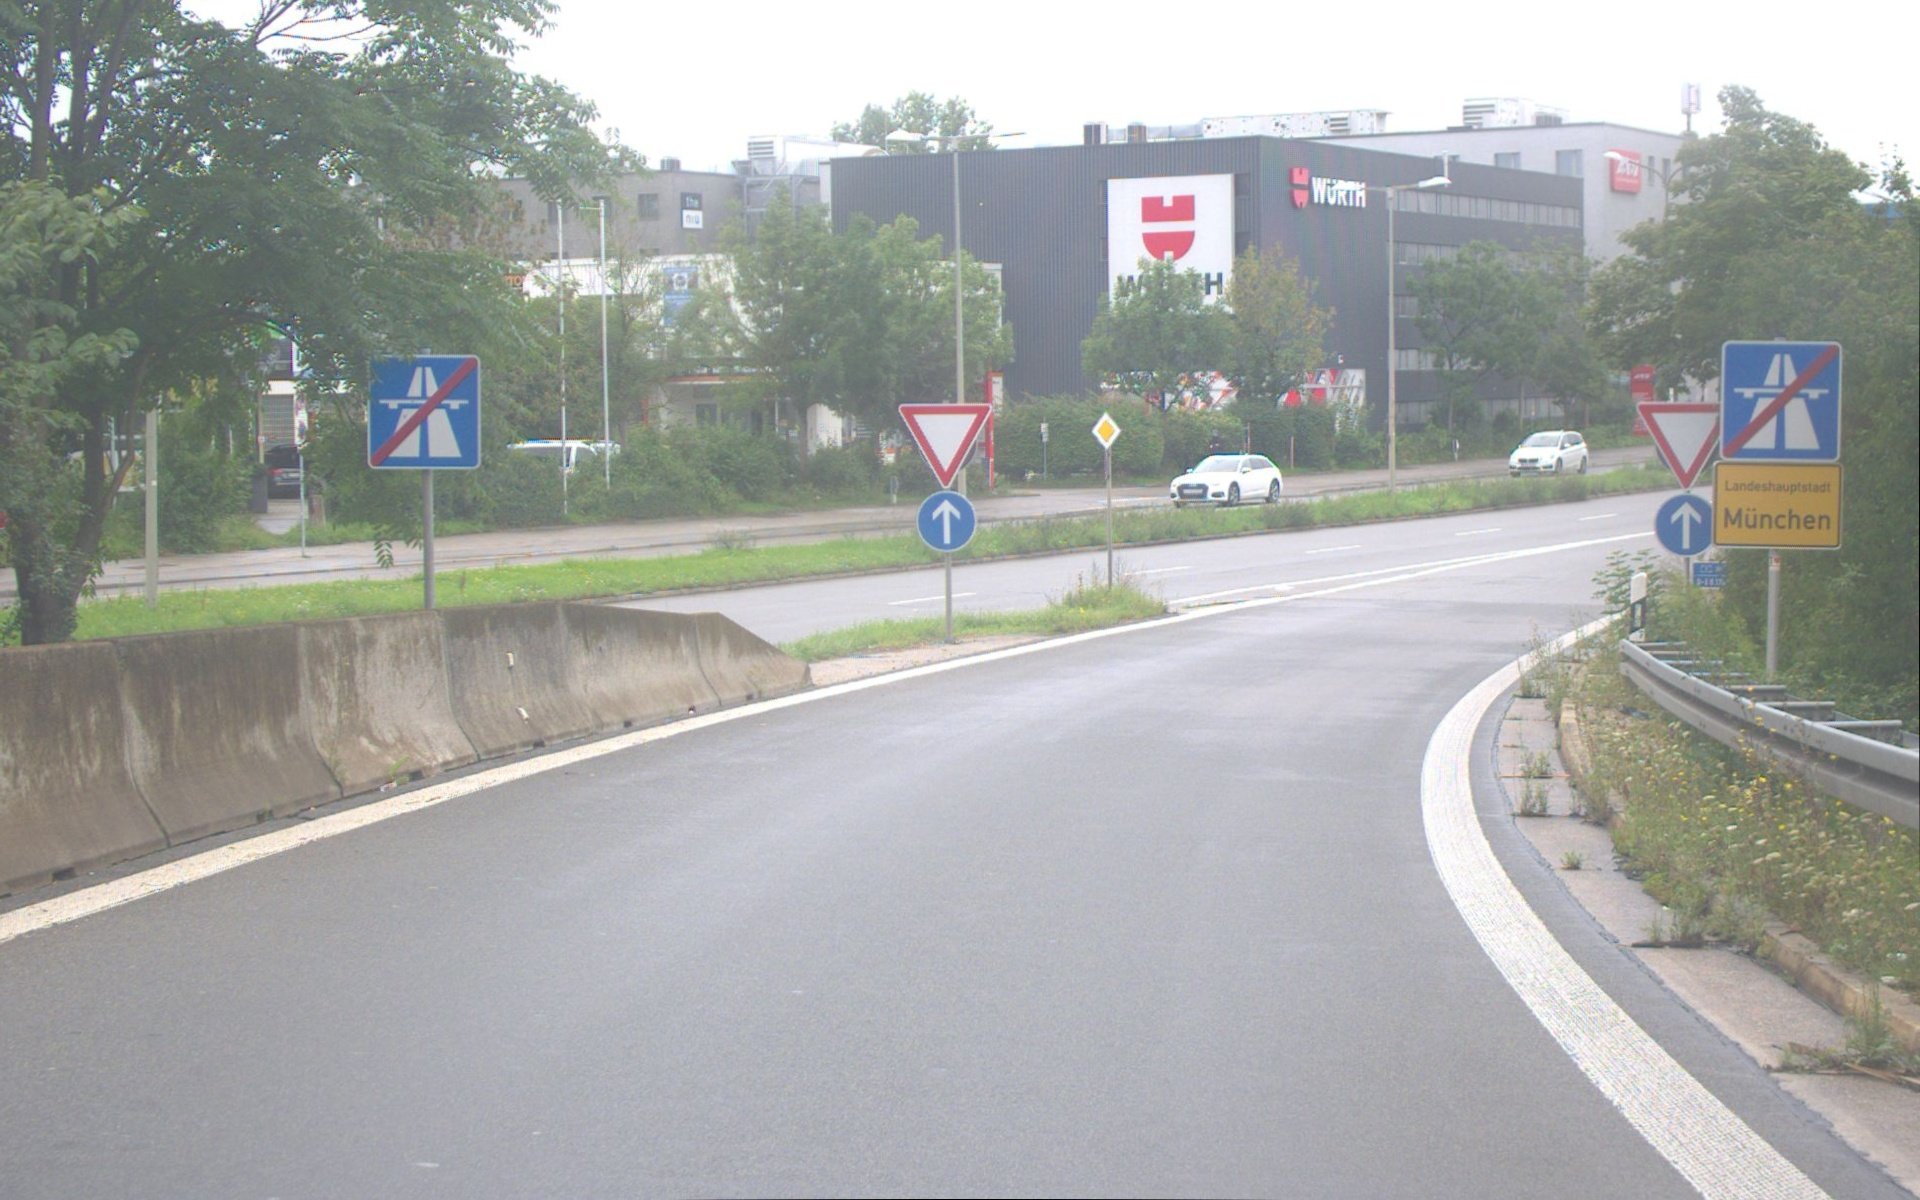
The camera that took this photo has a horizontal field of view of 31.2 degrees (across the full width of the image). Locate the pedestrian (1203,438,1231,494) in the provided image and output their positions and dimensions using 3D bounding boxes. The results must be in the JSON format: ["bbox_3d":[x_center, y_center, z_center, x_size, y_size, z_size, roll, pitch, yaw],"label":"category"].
[{"bbox_3d":[8.593,-4.474,114.770,0.623,1.823,0.816,1,4,29],"label":"pedestrian"}]

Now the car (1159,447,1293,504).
[{"bbox_3d":[7.943,-3.722,102.060,1.997,1.566,5.111,1,3,29],"label":"car"}]

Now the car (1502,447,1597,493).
[{"bbox_3d":[21.627,-4.769,126.048,1.997,1.566,4.567,1,3,29],"label":"car"}]

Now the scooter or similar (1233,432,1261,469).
[{"bbox_3d":[9.850,-5.141,118.034,0.446,1.223,1.385,1,4,28],"label":"scooter or similar"}]
